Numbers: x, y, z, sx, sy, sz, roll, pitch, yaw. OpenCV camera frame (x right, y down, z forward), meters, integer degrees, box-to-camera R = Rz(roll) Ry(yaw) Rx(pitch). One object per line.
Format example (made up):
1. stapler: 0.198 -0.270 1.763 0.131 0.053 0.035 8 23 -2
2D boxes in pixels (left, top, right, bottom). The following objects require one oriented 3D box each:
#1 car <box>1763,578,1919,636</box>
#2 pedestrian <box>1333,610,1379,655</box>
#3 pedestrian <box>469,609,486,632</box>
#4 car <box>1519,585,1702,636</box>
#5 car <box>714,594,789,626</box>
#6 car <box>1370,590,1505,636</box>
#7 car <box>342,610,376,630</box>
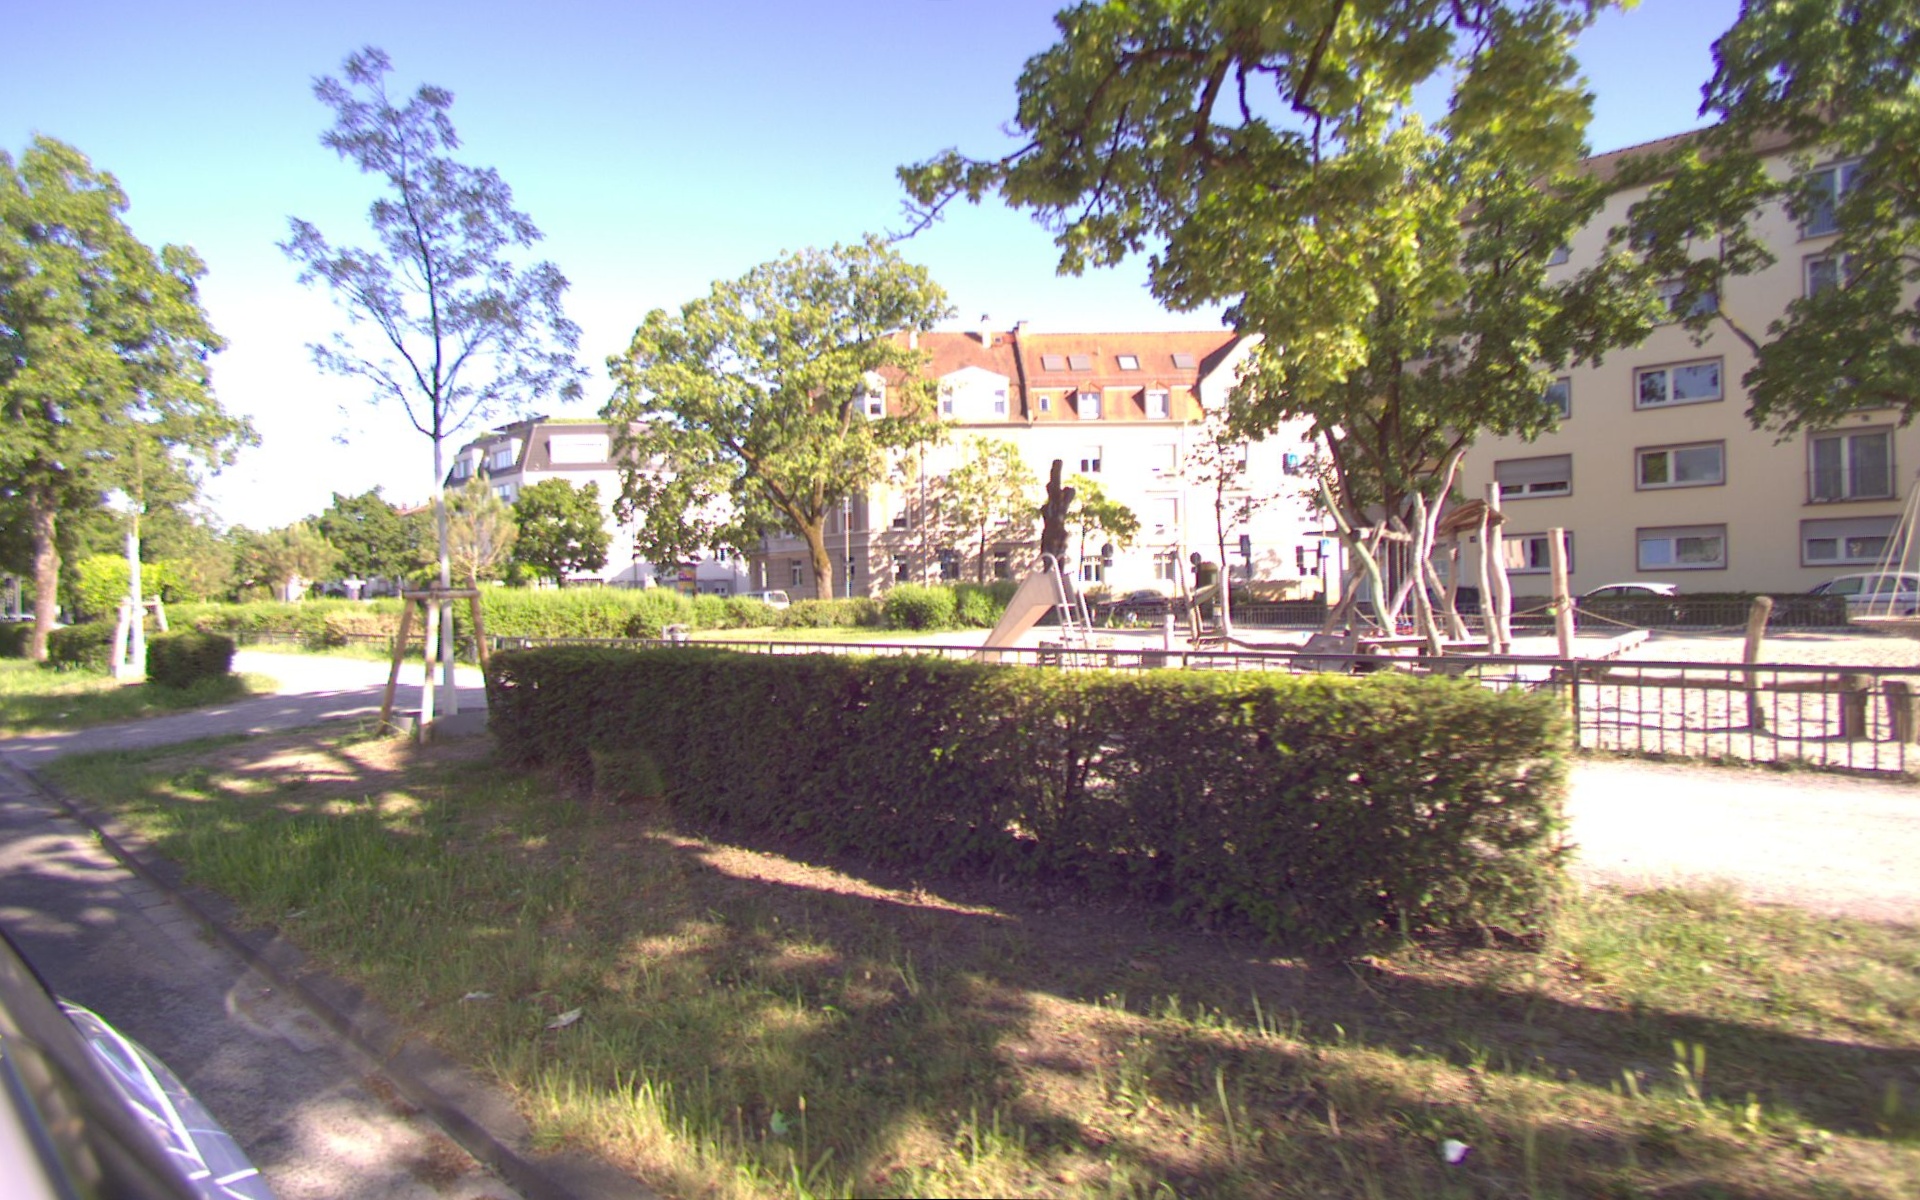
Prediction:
1. car: 25.347 0.199 28.644 3.999 1.521 1.775 -2 0 42
2. pedestrian: 8.948 0.731 22.886 0.535 0.986 0.779 -2 0 -41
3. pedestrian: -26.786 1.126 56.171 0.640 1.247 0.651 -2 0 -43
4. car: 20.951 0.357 32.732 4.761 1.521 1.887 -2 0 41
5. car: -11.869 0.585 57.421 4.586 1.647 1.775 -2 0 42
6. car: 16.977 0.480 36.065 3.999 1.521 1.775 -2 0 42
7. car: -63.348 2.067 106.678 4.406 2.044 1.915 -1 -1 43
